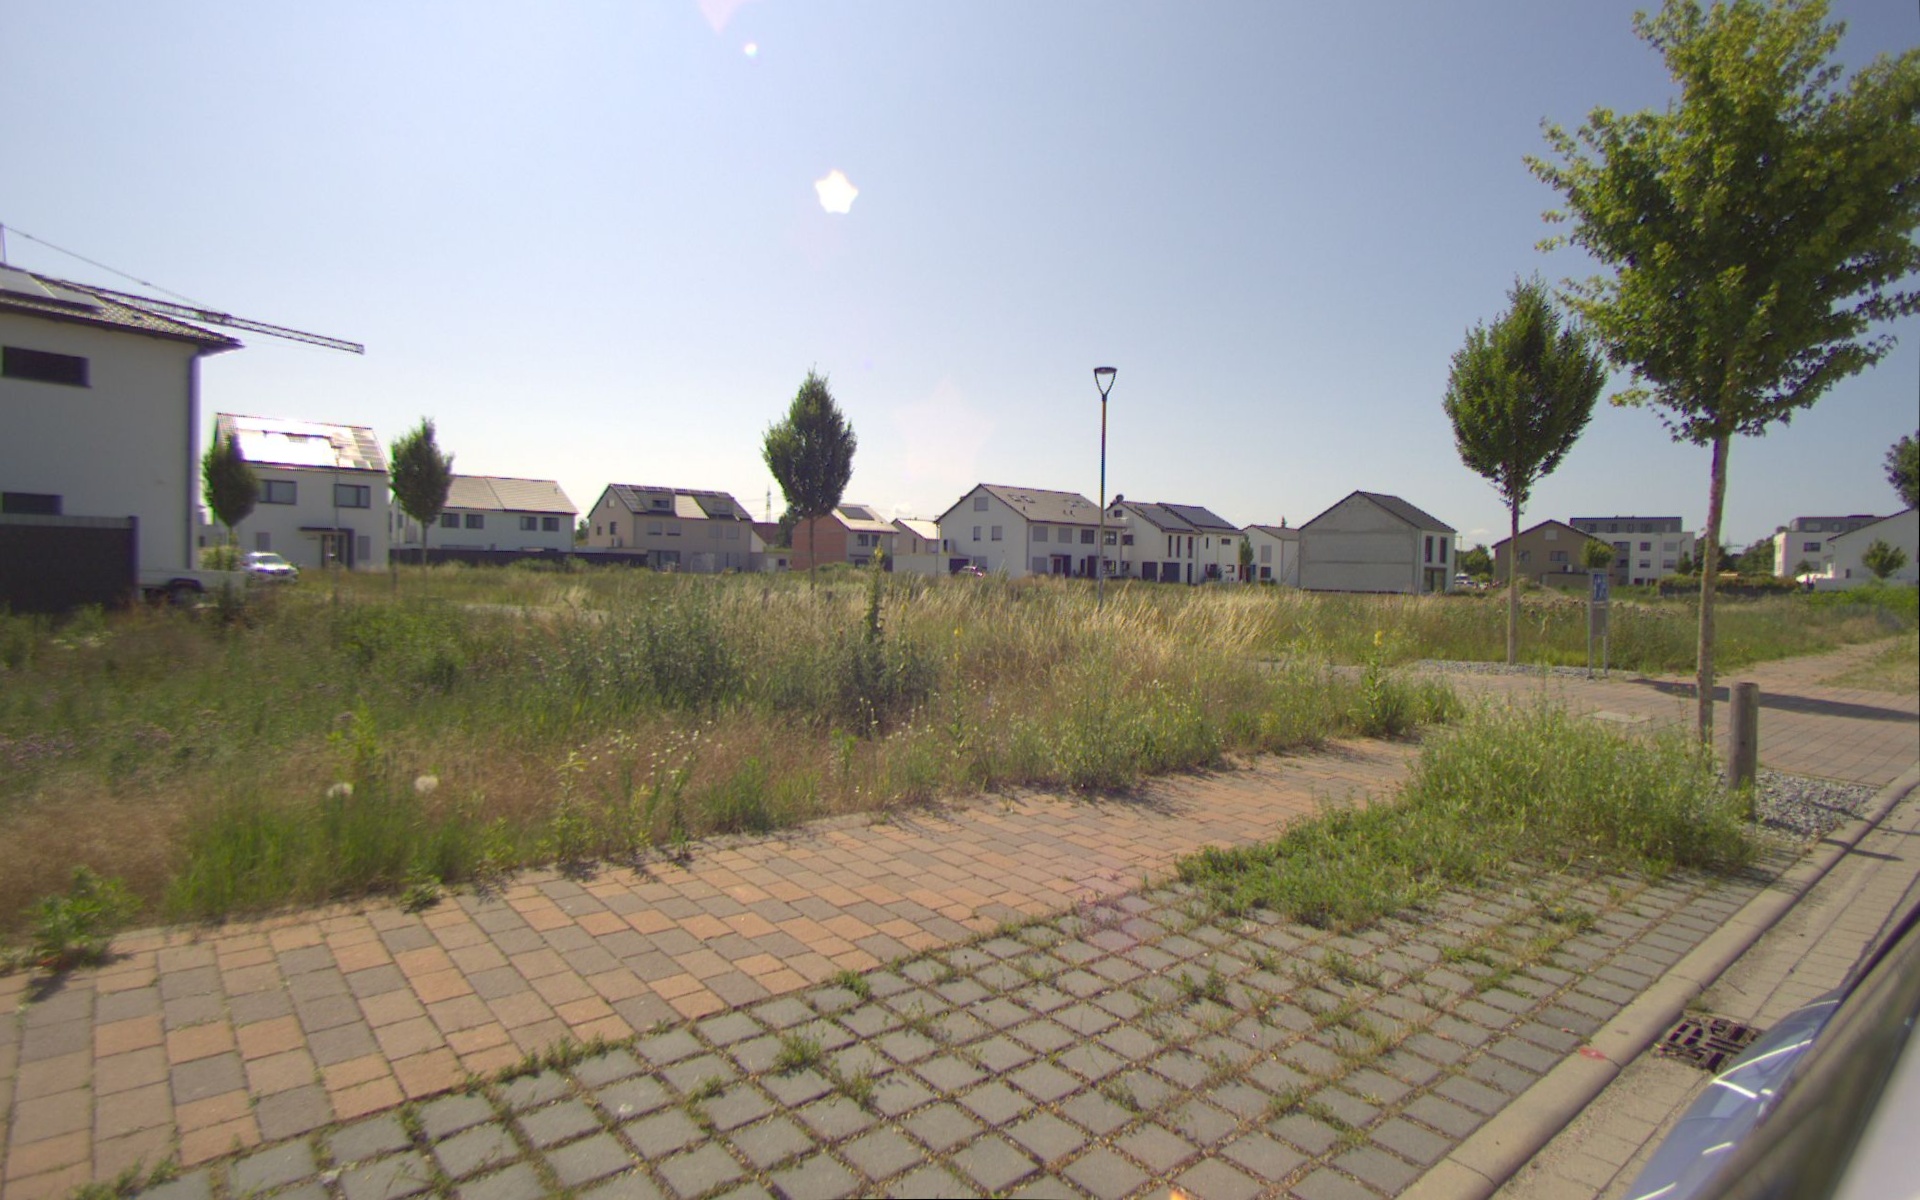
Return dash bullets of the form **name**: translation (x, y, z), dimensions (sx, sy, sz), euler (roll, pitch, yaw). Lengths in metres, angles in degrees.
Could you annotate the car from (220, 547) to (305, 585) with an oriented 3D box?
- **car**: translation (-27.923, -1.363, 40.500), dimensions (3.809, 1.460, 1.719), euler (2, 2, 37)
